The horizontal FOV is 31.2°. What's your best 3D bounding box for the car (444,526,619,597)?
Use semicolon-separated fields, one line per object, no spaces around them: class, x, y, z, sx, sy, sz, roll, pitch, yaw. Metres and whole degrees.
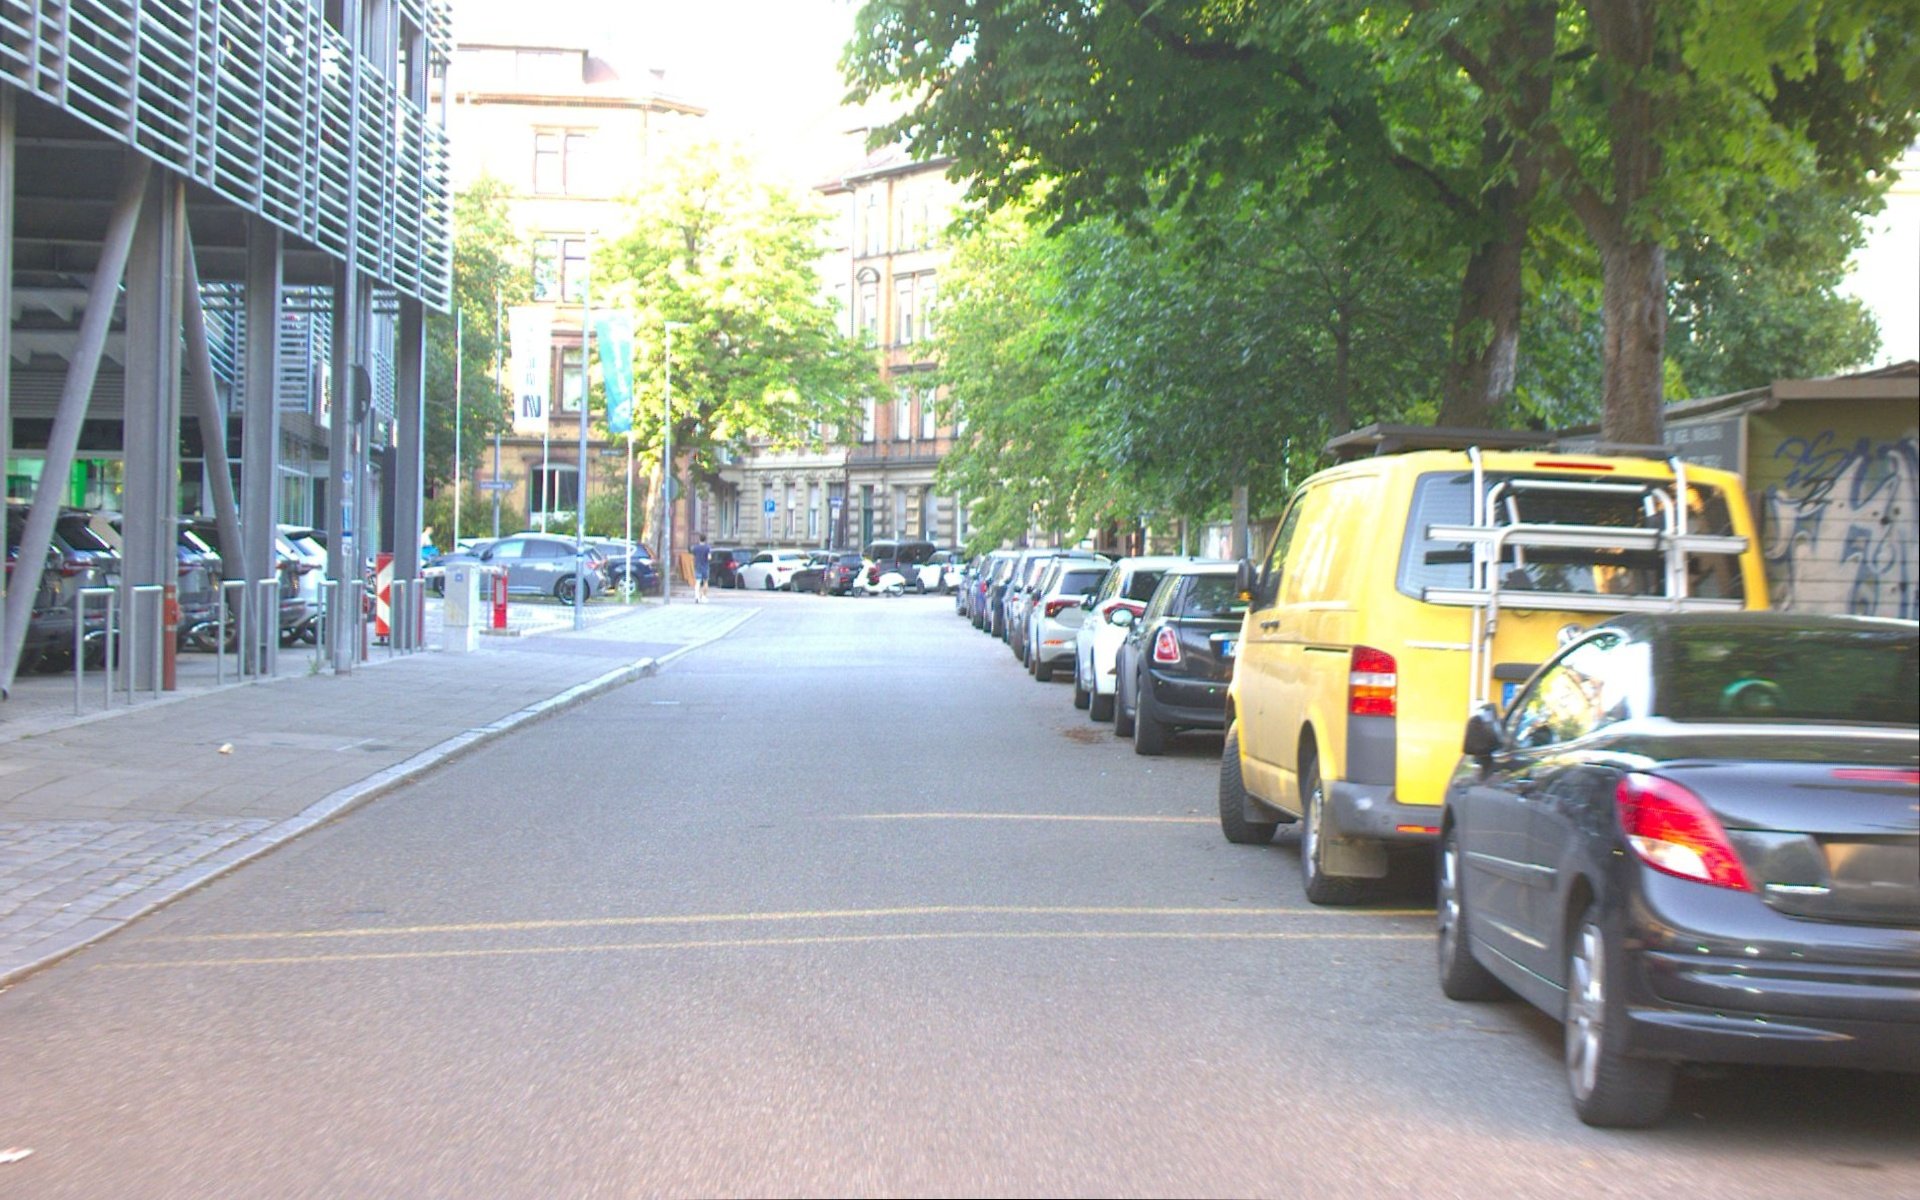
car;-10.342;-0.949;83.187;4.066;1.612;1.765;1;2;-3

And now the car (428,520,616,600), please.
car;-10.149;-0.940;79.929;4.129;1.612;1.913;3;2;-3

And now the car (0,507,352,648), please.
car;-9.946;-0.305;43.741;4.079;1.678;1.860;1;2;0

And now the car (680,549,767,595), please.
car;-8.208;-0.984;119.008;1.654;1.426;3.897;1;2;-25

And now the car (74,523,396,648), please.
car;-9.729;-0.176;46.375;3.986;1.580;1.860;1;-1;-3

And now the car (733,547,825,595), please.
car;-6.061;-0.977;114.731;1.654;1.426;4.168;1;2;-23

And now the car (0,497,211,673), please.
car;-9.774;-0.192;34.461;4.103;1.678;1.860;1;2;0

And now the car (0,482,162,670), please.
car;-9.692;-0.275;31.962;4.103;1.678;1.860;1;2;0

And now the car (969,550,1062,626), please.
car;1.093;-0.256;69.750;1.695;1.472;4.117;1;1;-1

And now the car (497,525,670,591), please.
car;-10.835;-1.213;98.840;4.828;1.726;1.921;2;2;-7

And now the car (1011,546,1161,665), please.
car;1.673;0.040;46.890;1.759;1.449;4.393;1;2;-1

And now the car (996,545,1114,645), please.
car;1.571;-0.108;57.838;1.759;1.598;3.874;1;1;-1

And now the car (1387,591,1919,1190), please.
car;2.374;0.730;10.583;1.606;1.377;4.000;1;2;0

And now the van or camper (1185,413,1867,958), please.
van or camper;2.369;0.262;15.903;2.064;2.088;5.091;1;2;-3

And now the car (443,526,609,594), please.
car;-11.001;-1.021;87.358;4.044;1.470;1.921;3;2;-5

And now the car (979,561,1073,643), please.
car;1.229;0.016;65.193;1.596;1.472;3.774;1;1;-1

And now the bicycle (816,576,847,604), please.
bicycle;-3.919;-0.301;104.910;0.425;0.819;1.460;2;2;21

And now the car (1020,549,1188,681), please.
car;1.708;0.146;42.003;1.759;1.437;4.006;1;2;-1

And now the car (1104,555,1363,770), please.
car;2.009;0.420;26.085;1.563;1.445;3.454;1;2;-2

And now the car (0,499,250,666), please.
car;-9.793;-0.221;36.604;4.064;1.678;1.860;1;2;0

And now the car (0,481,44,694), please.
car;-9.589;-0.144;27.355;4.083;1.678;1.860;1;2;0

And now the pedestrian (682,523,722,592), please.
pedestrian;-6.886;-1.135;91.557;0.735;1.798;1.122;0;2;-21

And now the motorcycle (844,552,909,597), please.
motorcycle;-2.594;-0.794;106.984;1.931;1.336;0.577;1;2;-11

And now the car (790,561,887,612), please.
car;-3.921;-0.445;110.348;1.654;1.426;3.991;1;2;-25

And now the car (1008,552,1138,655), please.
car;1.697;0.022;52.831;1.759;1.436;3.874;1;2;-1

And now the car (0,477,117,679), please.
car;-9.538;-0.242;29.586;4.103;1.678;1.860;1;2;0

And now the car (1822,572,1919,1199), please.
car;2.678;0.744;5.519;1.609;1.505;3.478;1;1;-2

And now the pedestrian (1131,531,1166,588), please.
pedestrian;6.014;-1.297;109.896;0.840;1.798;0.776;0;2;-21

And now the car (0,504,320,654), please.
car;-9.867;-0.268;41.058;4.087;1.678;1.860;1;2;0

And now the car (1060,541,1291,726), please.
car;1.911;0.254;31.547;1.722;1.514;4.026;1;2;-2

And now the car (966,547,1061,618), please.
car;1.140;-0.396;74.374;1.695;1.472;3.560;1;1;-5

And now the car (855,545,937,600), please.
car;-2.228;-0.950;118.872;1.674;1.776;3.015;1;1;-25

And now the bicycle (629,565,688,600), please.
bicycle;-8.918;-0.518;101.602;1.671;1.025;0.446;0;2;-25

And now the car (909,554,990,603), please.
car;-0.358;-0.734;115.354;1.674;1.520;2.768;1;1;-25
